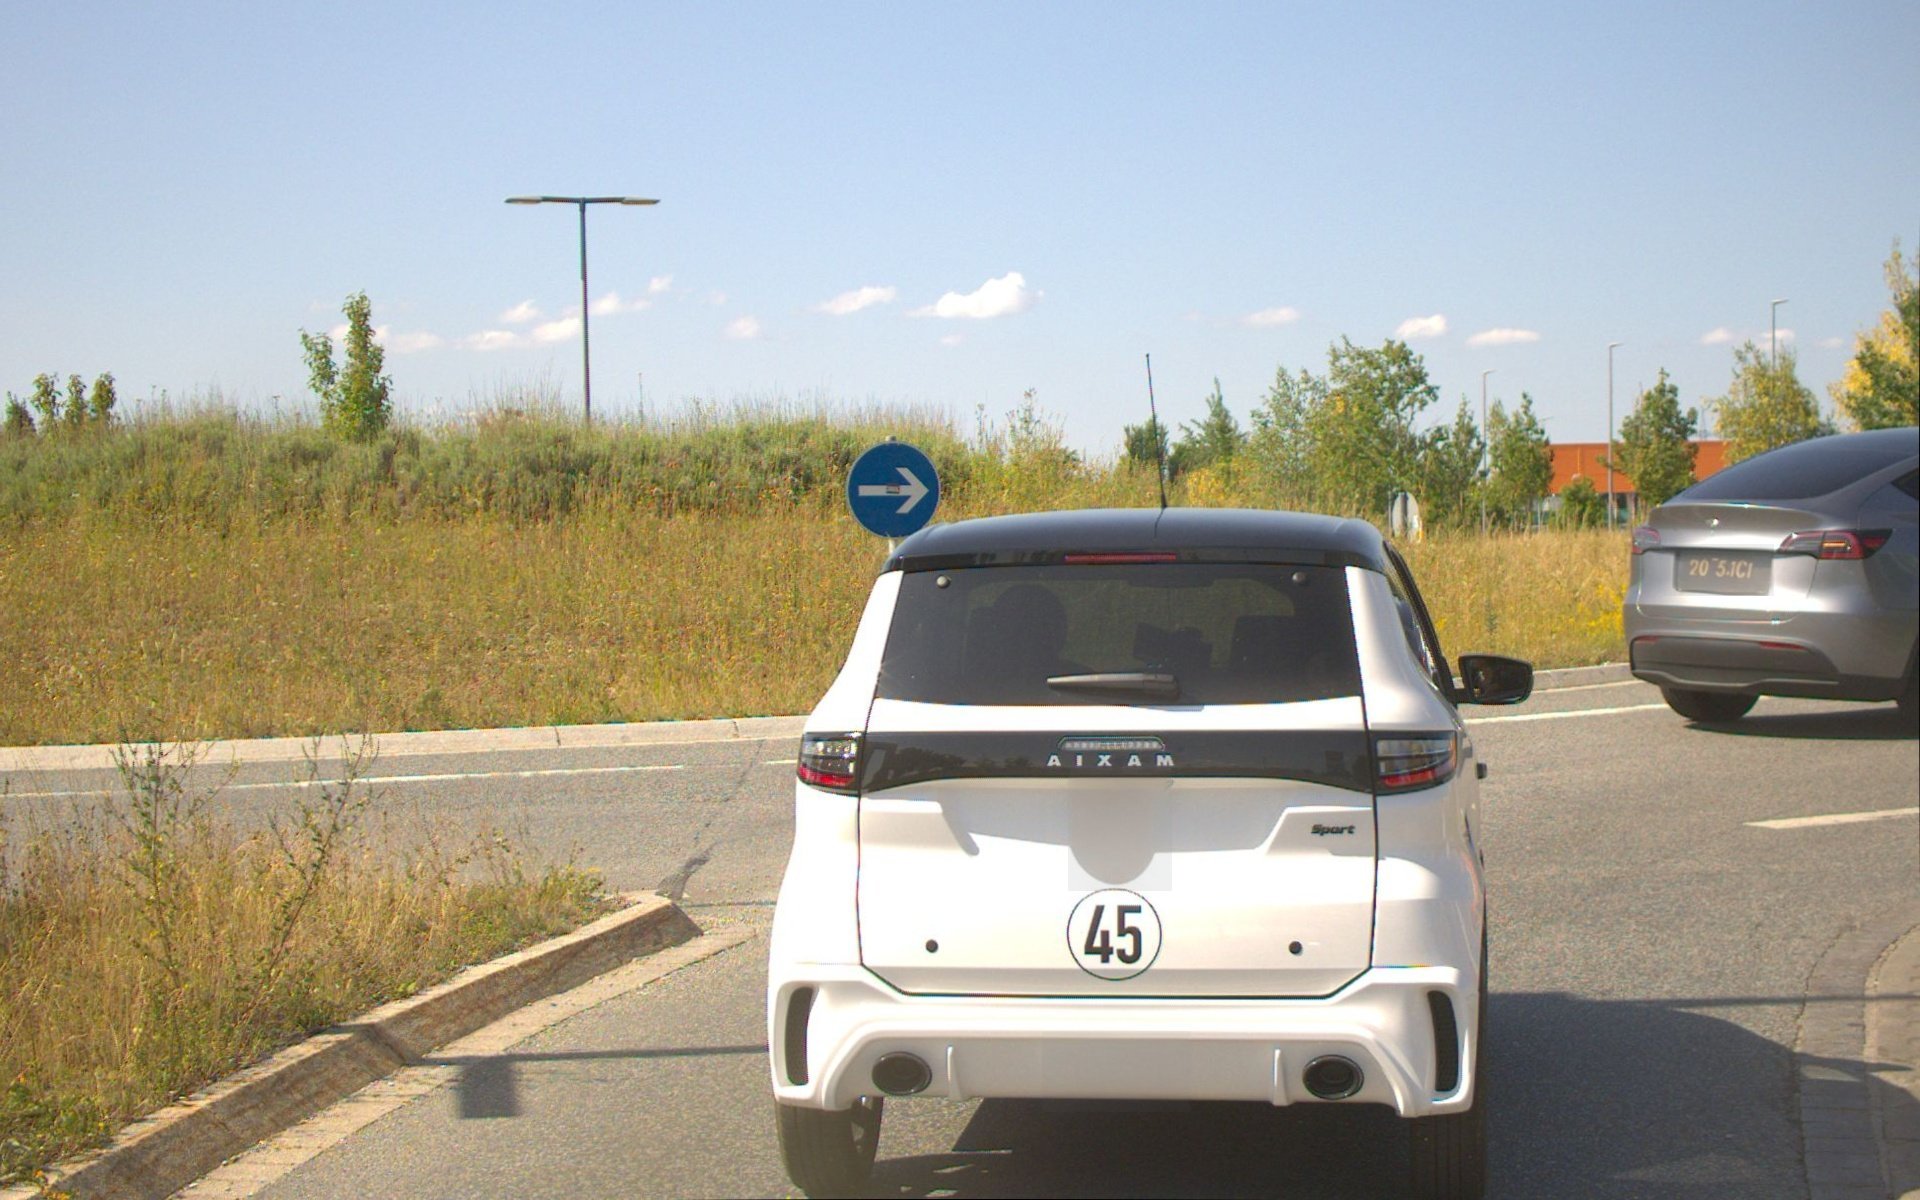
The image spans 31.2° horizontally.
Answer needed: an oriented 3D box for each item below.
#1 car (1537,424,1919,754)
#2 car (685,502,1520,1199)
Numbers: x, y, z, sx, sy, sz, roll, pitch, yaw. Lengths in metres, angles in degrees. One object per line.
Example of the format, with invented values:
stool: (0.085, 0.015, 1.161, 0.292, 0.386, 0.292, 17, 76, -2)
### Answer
car: (5.578, -0.145, 19.002, 4.610, 1.620, 1.963, -2, 2, -34)
car: (0.537, 0.506, 8.583, 1.617, 1.429, 3.792, -1, 2, 8)
